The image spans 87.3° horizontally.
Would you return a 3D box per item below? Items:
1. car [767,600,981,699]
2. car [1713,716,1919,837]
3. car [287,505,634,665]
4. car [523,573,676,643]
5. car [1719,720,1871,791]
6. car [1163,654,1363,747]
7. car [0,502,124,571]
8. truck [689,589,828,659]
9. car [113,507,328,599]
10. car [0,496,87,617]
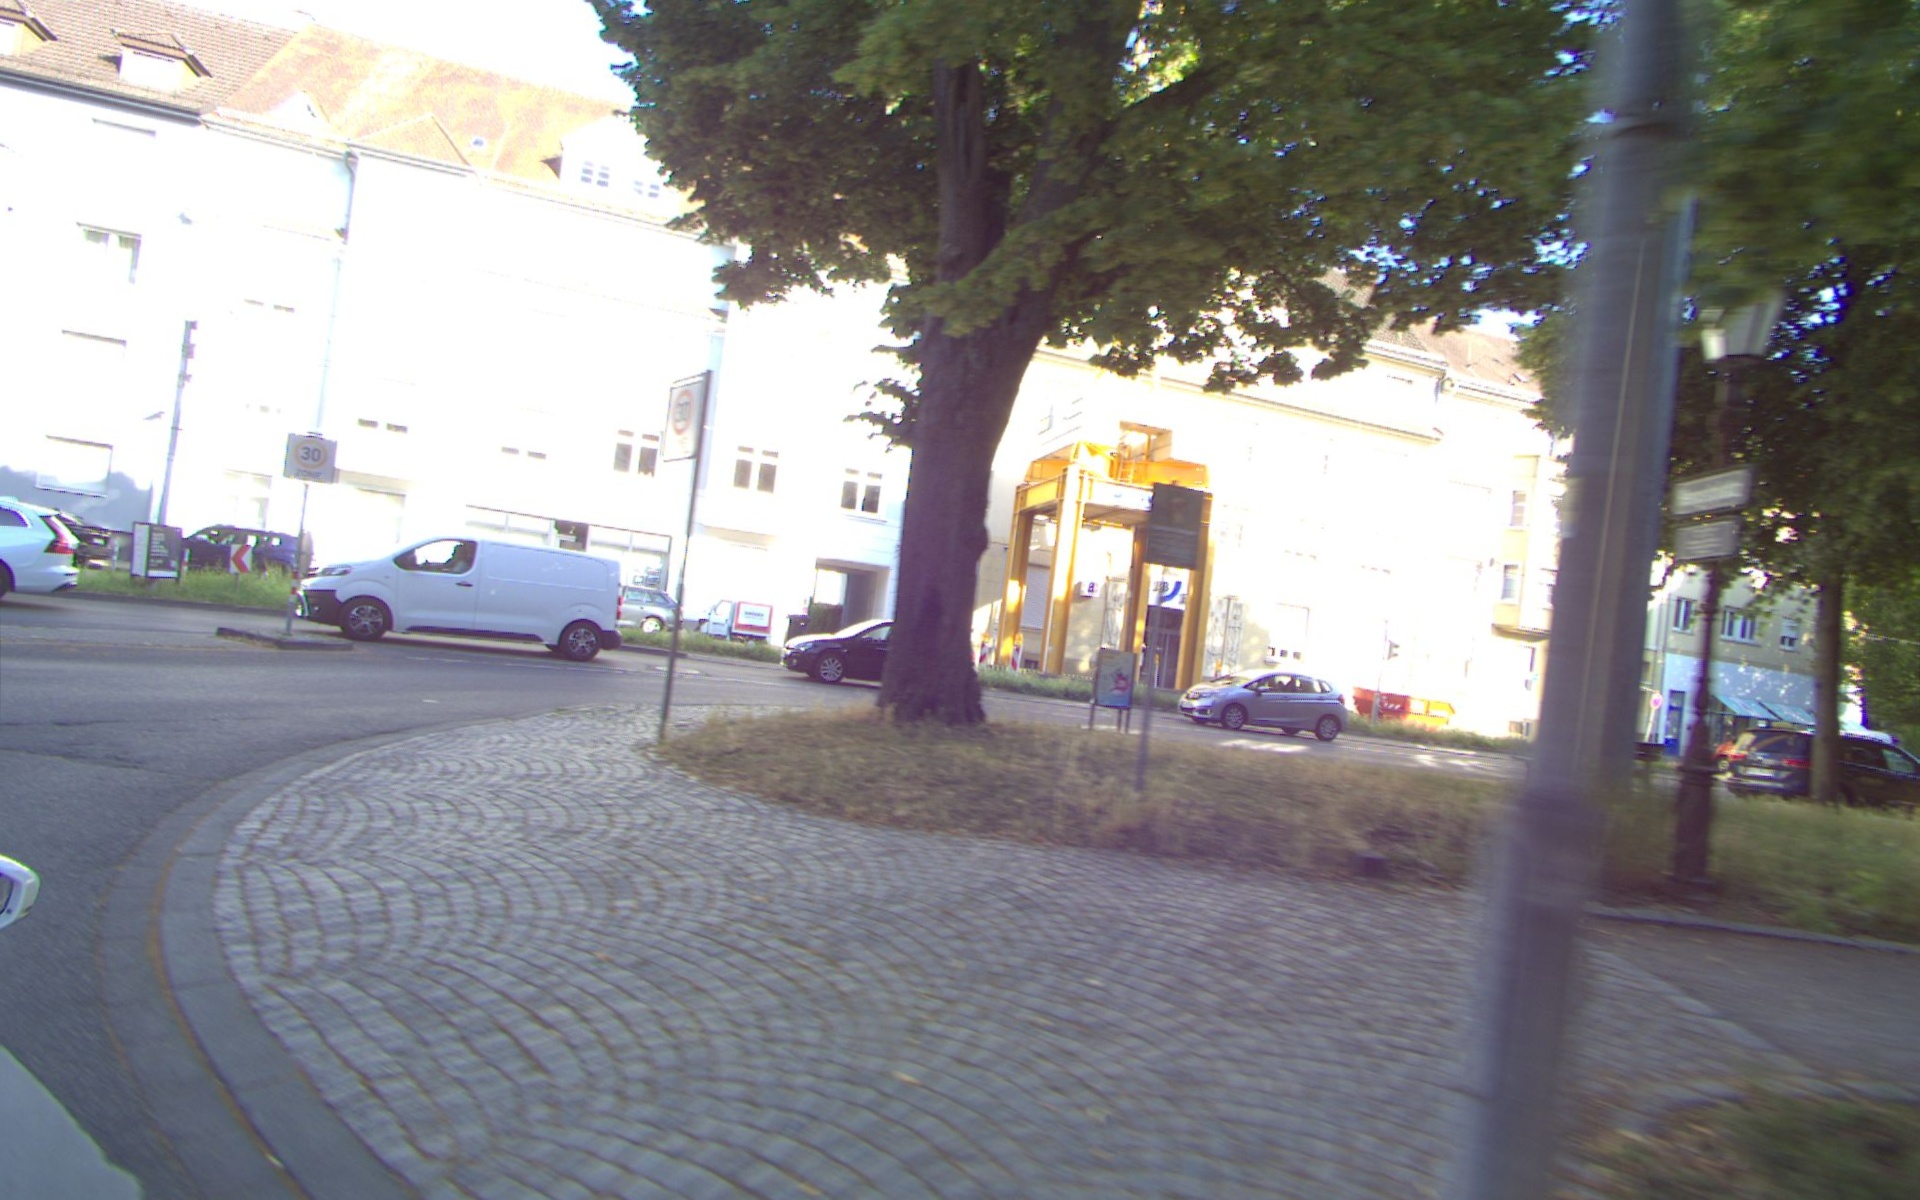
[{"bbox_3d":[-1.839,1.026,21.167,4.014,1.461,1.993,9,-2,-18],"label":"car"},{"bbox_3d":[17.198,3.461,19.572,3.939,1.814,1.996,8,-3,-15],"label":"car"},{"bbox_3d":[-8.324,-0.181,16.972,4.860,1.875,1.982,9,-2,-35],"label":"car"},{"bbox_3d":[-10.785,0.238,30.419,4.036,1.469,1.994,9,-1,-16],"label":"car"},{"bbox_3d":[32.804,6.068,39.659,1.971,1.943,4.058,8,-2,-17],"label":"car"},{"bbox_3d":[7.209,2.382,24.031,4.013,1.536,1.993,9,-1,-17],"label":"car"},{"bbox_3d":[-25.059,-1.828,26.288,4.380,1.402,1.994,9,-2,-16],"label":"car"},{"bbox_3d":[-6.419,0.760,31.964,4.036,1.604,1.994,9,-1,-16],"label":"truck"},{"bbox_3d":[-20.228,-1.233,27.743,4.147,1.769,1.994,9,-1,-16],"label":"car"},{"bbox_3d":[-14.255,-0.878,12.686,4.746,1.480,1.832,10,-2,-44],"label":"car"}]
